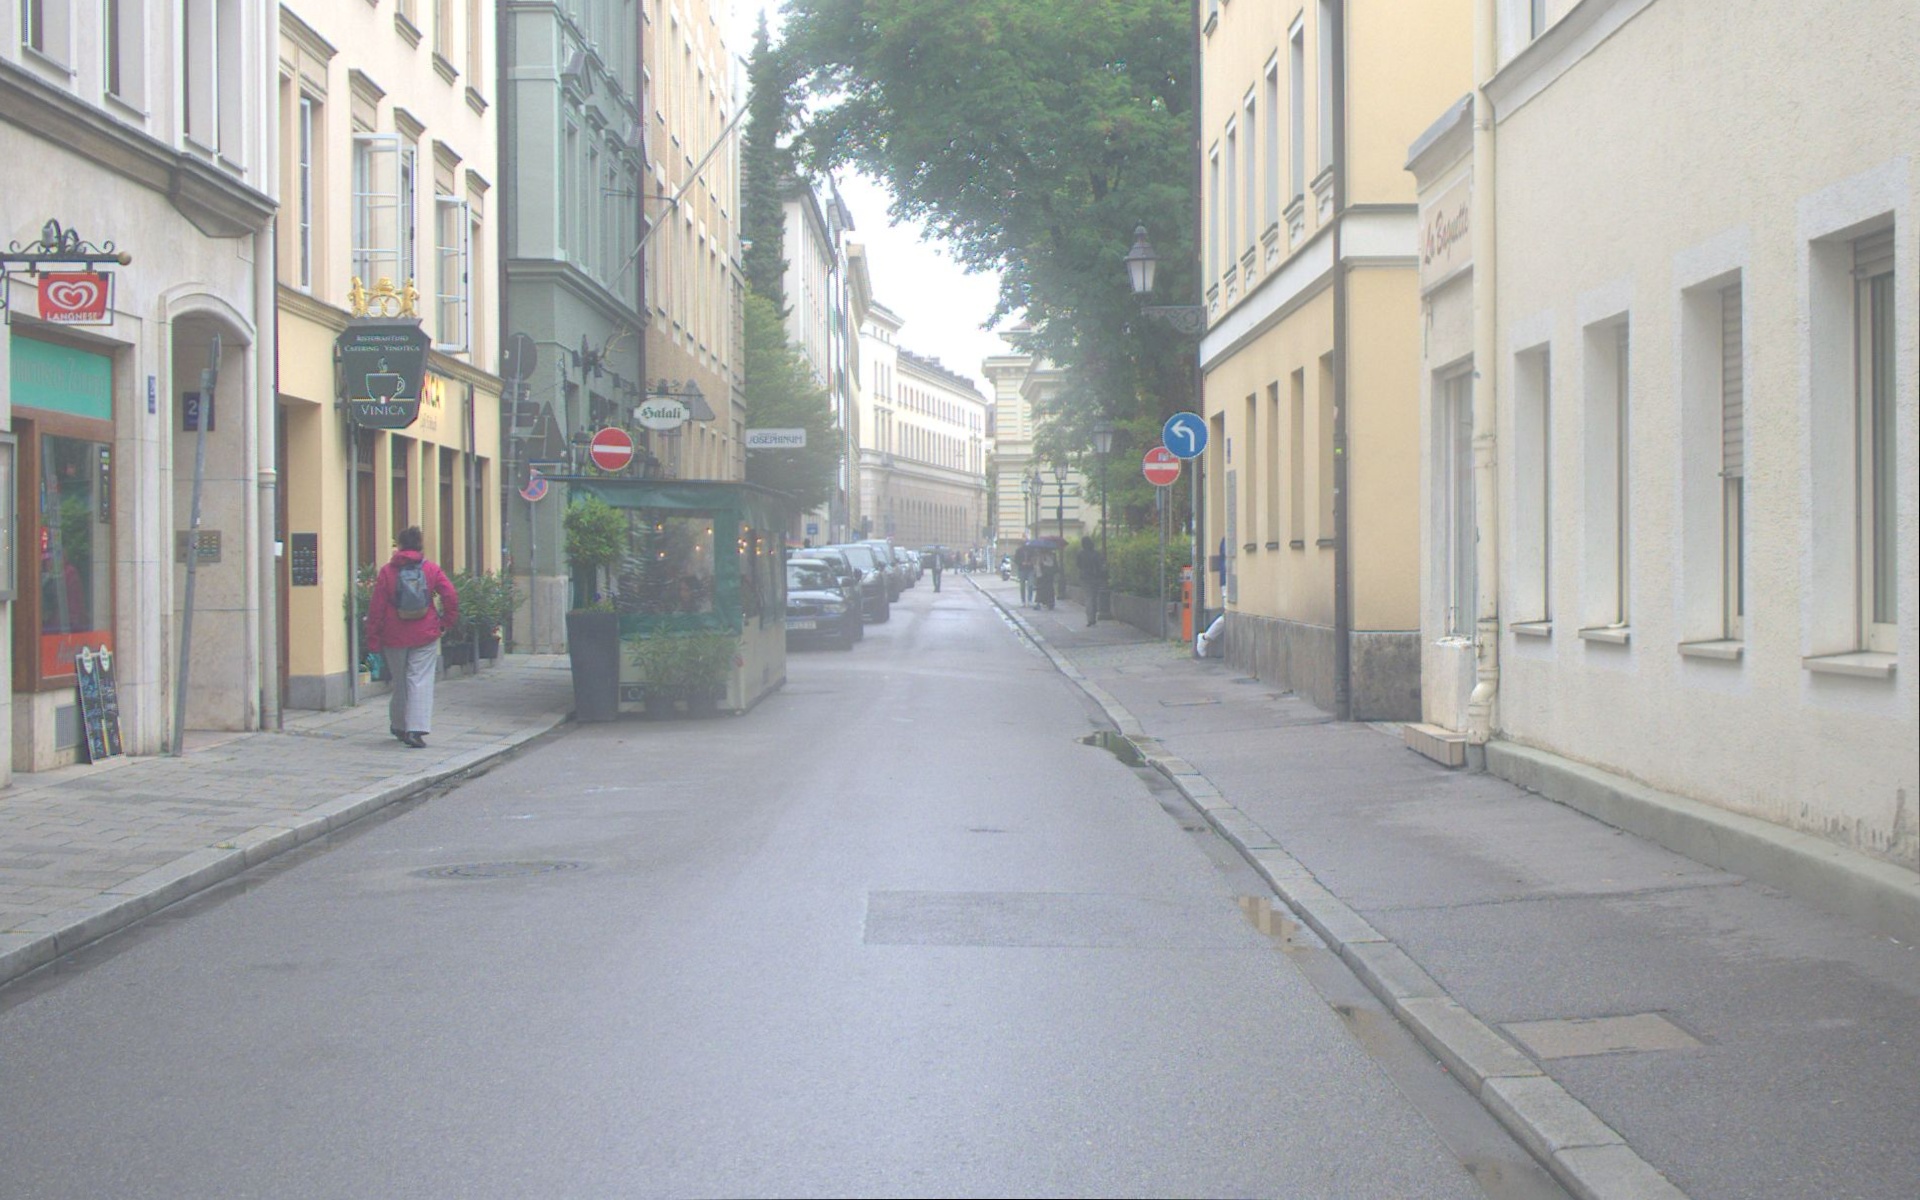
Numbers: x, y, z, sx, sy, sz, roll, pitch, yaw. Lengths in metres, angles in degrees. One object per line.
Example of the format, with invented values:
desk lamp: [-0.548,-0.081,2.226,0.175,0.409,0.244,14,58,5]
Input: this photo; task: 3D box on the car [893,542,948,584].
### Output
car: [-1.434,-1.355,125.055,1.779,1.461,3.542,1,1,3]

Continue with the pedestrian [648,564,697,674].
pedestrian: [-3.275,0.214,39.225,0.509,1.233,0.631,1,1,-2]

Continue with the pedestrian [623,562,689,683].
pedestrian: [-3.379,0.242,38.206,0.673,1.322,0.696,1,1,-2]

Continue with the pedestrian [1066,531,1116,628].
pedestrian: [2.447,-0.391,64.474,0.880,1.796,1.046,1,1,1]

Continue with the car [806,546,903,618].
car: [-2.220,-0.400,73.047,1.779,1.461,3.542,1,1,3]

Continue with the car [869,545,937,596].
car: [-1.682,-0.895,102.771,1.779,1.461,3.542,1,1,3]

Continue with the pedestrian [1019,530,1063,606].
pedestrian: [1.936,-0.775,82.315,1.015,1.796,1.349,1,1,1]

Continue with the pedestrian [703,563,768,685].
pedestrian: [-2.477,0.261,38.034,0.673,1.322,0.696,1,1,-2]

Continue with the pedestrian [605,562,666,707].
pedestrian: [-3.010,0.314,31.910,0.509,1.322,0.631,1,1,-2]

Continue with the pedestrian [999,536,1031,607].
pedestrian: [1.410,-0.732,87.938,0.793,1.796,0.903,1,1,1]

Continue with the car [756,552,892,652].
car: [-2.085,0.005,53.524,1.779,1.461,3.662,1,1,3]

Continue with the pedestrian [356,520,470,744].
pedestrian: [-4.228,0.240,26.607,0.765,1.702,0.785,0,1,-2]
